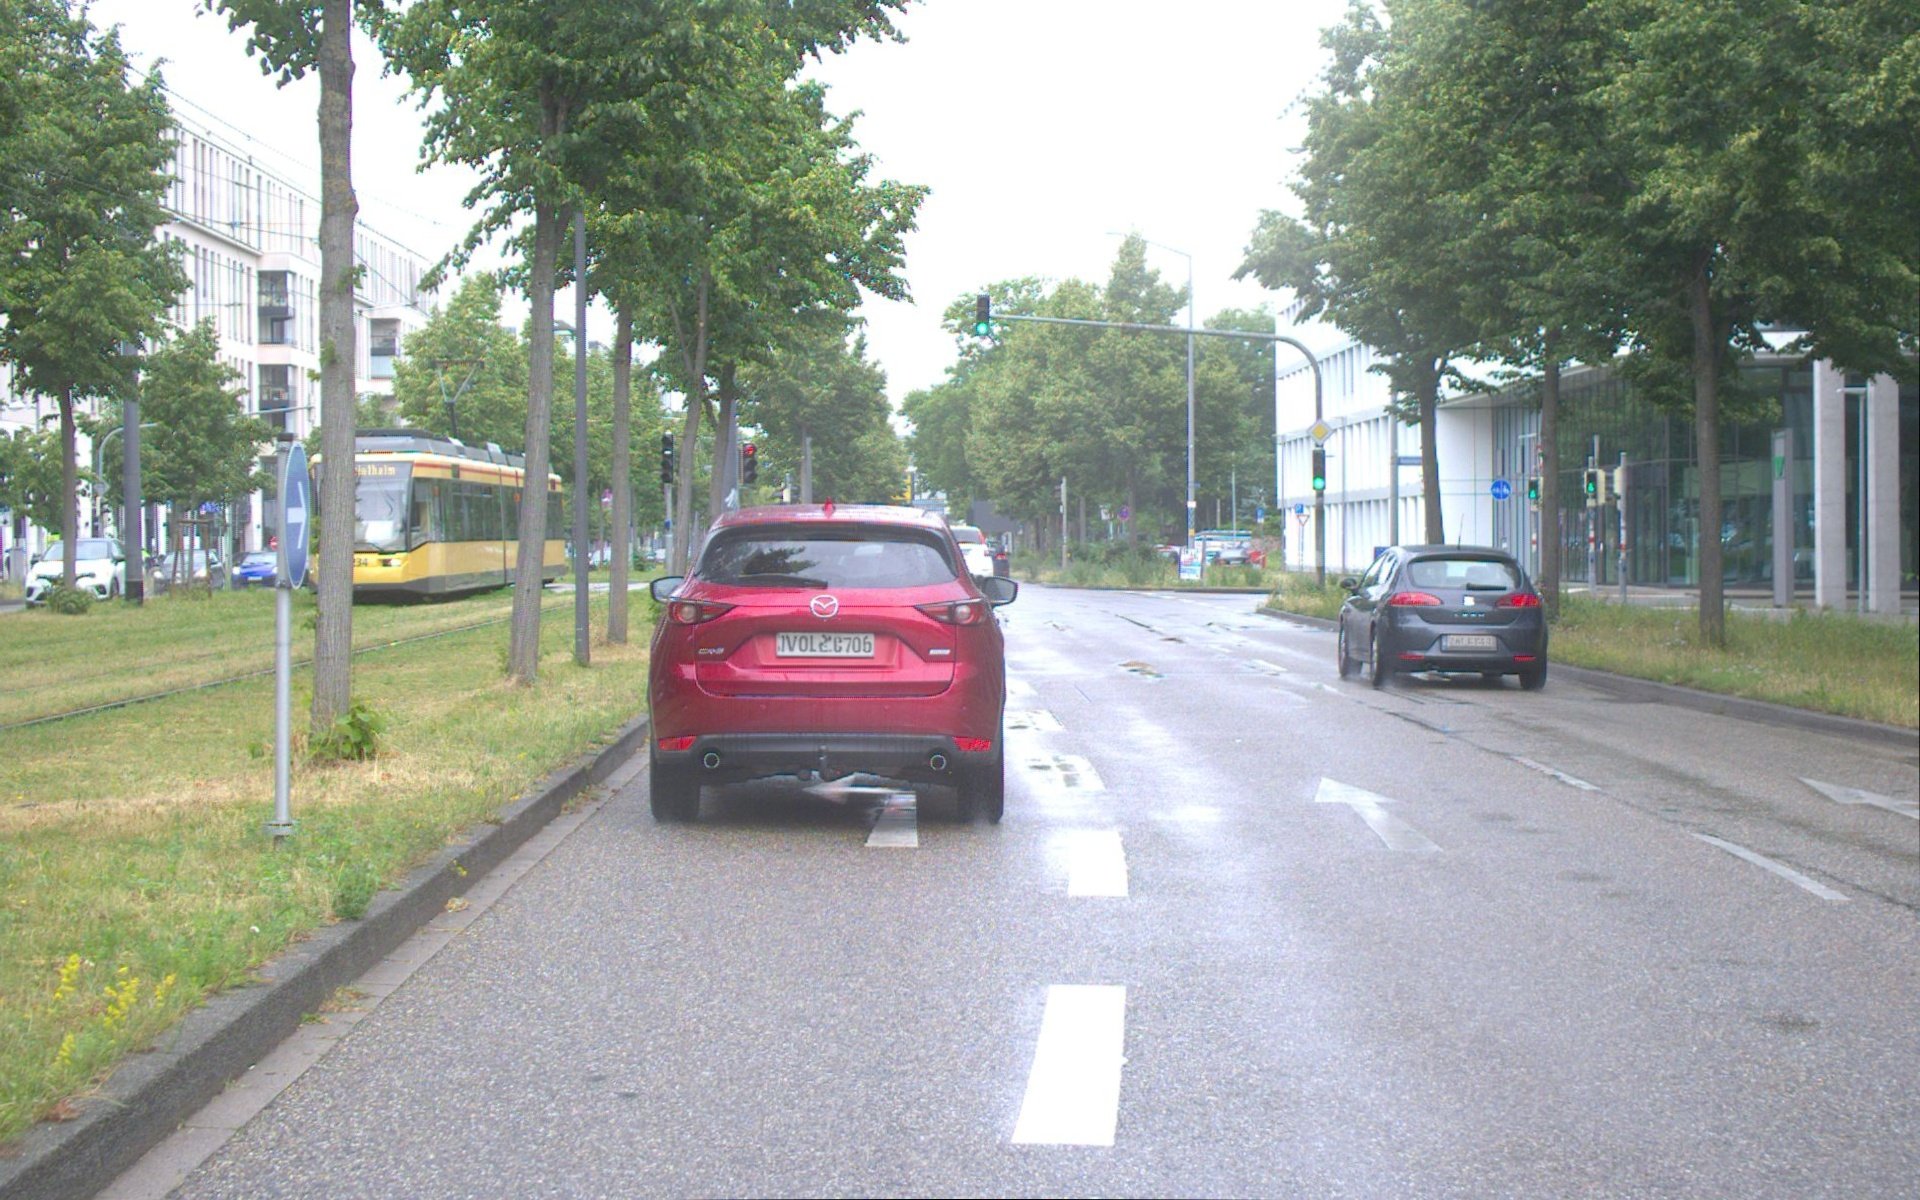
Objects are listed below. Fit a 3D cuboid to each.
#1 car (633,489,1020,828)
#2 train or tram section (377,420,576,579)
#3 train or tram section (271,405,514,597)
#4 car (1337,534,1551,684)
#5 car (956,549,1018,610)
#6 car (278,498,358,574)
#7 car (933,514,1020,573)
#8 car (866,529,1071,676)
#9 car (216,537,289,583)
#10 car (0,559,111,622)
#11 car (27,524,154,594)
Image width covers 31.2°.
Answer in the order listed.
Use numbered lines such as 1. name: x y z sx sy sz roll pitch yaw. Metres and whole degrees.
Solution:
1. car: -0.710 0.243 18.924 1.898 1.671 4.001 0 1 -2
2. train or tram section: -11.942 -2.483 86.457 3.128 3.646 15.066 0 1 -1
3. train or tram section: -11.673 -2.050 72.214 3.128 3.646 13.408 0 1 -1
4. car: 4.972 0.050 35.743 1.743 1.460 3.781 0 1 1
5. car: 0.898 -0.714 116.952 1.993 2.007 4.000 0 1 -1
6. car: -21.994 -2.201 117.961 2.255 2.553 4.656 0 1 -5
7. car: 0.455 -1.456 88.175 1.967 1.432 4.552 1 1 3
8. car: 0.144 -0.015 36.654 1.960 1.460 3.781 0 1 4
9. car: -25.789 -1.459 125.471 1.993 1.612 4.001 0 1 -3
10. car: -22.862 -0.249 86.879 1.884 1.454 4.000 1 1 -1
11. car: -18.153 -0.880 71.915 1.710 1.399 4.000 0 1 -1
